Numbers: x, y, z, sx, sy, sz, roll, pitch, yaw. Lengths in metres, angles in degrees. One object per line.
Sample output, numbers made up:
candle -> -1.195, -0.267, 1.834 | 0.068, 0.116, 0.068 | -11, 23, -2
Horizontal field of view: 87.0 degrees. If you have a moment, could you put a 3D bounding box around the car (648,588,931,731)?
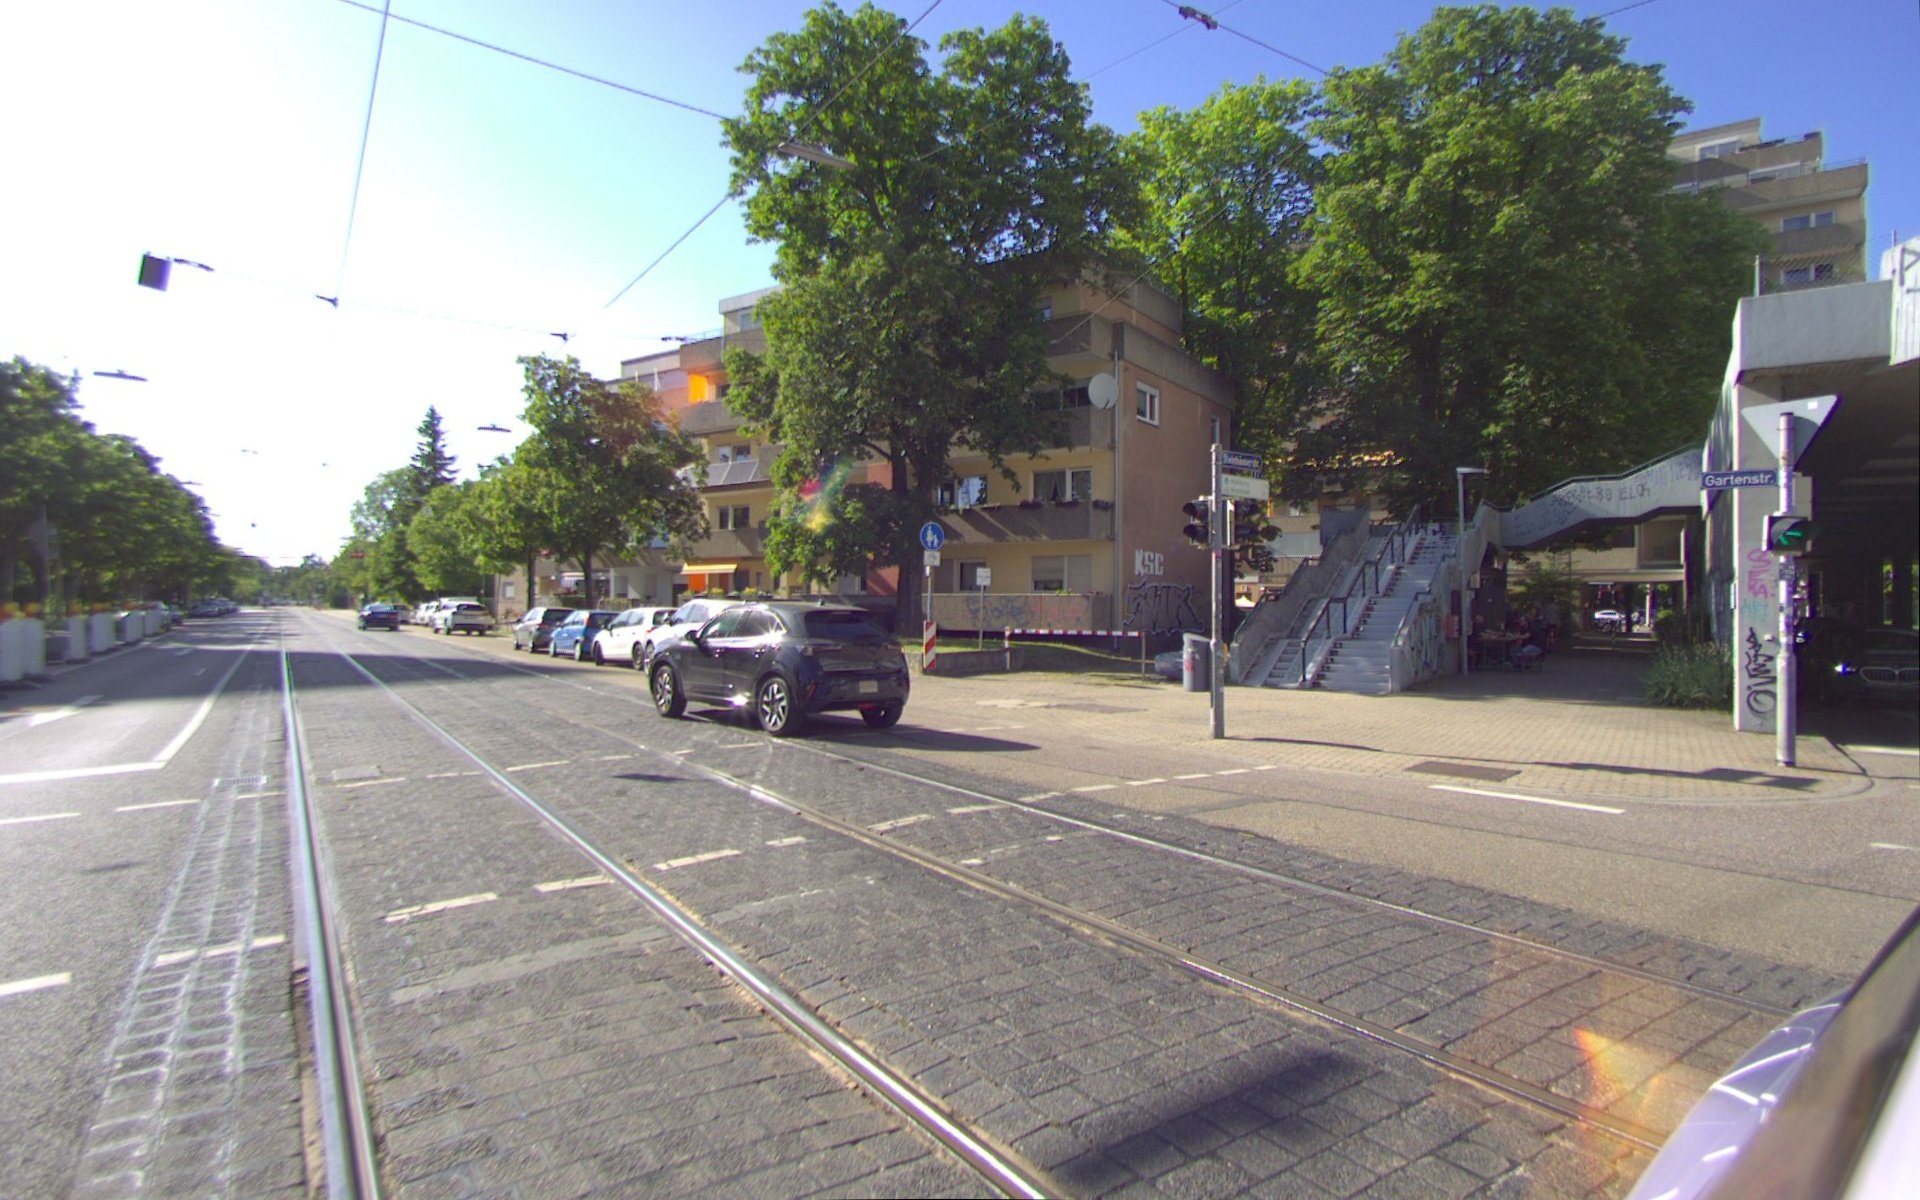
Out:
car -> -2.268, 0.648, 12.861 | 1.758, 1.537, 3.745 | 0, 0, -44

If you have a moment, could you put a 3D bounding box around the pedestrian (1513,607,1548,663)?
pedestrian -> 13.703, 0.820, 24.319 | 0.718, 1.315, 0.583 | 0, 0, 30

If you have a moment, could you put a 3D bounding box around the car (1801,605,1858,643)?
car -> 38.397, 1.011, 44.756 | 1.608, 1.574, 3.960 | 0, 0, 36

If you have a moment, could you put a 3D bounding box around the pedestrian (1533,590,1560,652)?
pedestrian -> 16.516, 0.572, 28.503 | 0.652, 1.713, 0.583 | 0, 0, 30

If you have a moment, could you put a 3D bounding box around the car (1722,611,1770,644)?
car -> 36.219, 1.218, 46.694 | 1.608, 1.392, 4.144 | 0, 0, 36

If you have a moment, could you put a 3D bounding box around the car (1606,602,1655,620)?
car -> 59.444, 0.944, 89.769 | 3.560, 1.505, 1.647 | 0, 0, 37

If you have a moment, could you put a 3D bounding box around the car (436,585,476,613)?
car -> -31.643, -0.082, 63.479 | 1.775, 1.696, 3.878 | 0, 0, -33

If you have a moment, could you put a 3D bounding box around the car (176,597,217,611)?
car -> -76.344, 0.429, 101.250 | 3.277, 1.336, 1.399 | -1, 0, -38

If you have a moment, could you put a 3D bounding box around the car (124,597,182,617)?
car -> -52.180, 0.455, 65.499 | 2.890, 1.266, 1.405 | -1, 0, -38

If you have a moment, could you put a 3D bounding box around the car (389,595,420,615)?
car -> -41.885, 0.337, 76.282 | 1.730, 1.474, 3.694 | 1, 0, -33

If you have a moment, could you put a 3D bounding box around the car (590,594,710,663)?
car -> -7.784, 0.667, 25.246 | 1.626, 1.551, 3.504 | 2, 0, -40

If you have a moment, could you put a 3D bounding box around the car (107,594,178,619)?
car -> -43.009, 0.325, 53.298 | 2.851, 1.265, 1.254 | -1, 0, -38

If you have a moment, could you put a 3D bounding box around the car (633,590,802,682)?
car -> -5.078, 0.635, 20.760 | 1.899, 1.640, 4.323 | 0, 1, -35

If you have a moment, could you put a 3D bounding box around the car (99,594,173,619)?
car -> -41.760, 0.311, 51.338 | 2.851, 1.191, 1.254 | -1, 0, -38

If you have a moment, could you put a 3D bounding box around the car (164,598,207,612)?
car -> -74.128, 0.434, 96.901 | 3.277, 1.305, 1.303 | -1, 0, -38

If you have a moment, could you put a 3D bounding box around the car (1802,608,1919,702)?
car -> 17.731, 0.958, 19.404 | 1.946, 1.575, 4.978 | 0, 0, 34

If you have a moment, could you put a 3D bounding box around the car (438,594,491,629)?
car -> -24.433, 0.554, 49.837 | 1.776, 1.567, 3.536 | 2, 0, -35

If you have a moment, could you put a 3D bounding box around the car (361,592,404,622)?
car -> -31.038, 0.368, 54.331 | 1.775, 1.521, 3.878 | 0, 0, -33

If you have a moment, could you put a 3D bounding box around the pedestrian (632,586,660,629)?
pedestrian -> -11.787, 0.284, 37.949 | 0.860, 1.572, 0.935 | 0, 0, -26

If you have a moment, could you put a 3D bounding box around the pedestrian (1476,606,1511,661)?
pedestrian -> 13.039, 0.808, 24.740 | 0.734, 1.315, 0.607 | 0, 0, 30

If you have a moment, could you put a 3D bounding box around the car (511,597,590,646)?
car -> -13.374, 0.675, 32.954 | 1.457, 1.479, 3.367 | 2, 0, -39

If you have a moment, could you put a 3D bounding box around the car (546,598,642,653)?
car -> -10.517, 0.713, 28.989 | 1.635, 1.424, 3.291 | 2, 0, -38
